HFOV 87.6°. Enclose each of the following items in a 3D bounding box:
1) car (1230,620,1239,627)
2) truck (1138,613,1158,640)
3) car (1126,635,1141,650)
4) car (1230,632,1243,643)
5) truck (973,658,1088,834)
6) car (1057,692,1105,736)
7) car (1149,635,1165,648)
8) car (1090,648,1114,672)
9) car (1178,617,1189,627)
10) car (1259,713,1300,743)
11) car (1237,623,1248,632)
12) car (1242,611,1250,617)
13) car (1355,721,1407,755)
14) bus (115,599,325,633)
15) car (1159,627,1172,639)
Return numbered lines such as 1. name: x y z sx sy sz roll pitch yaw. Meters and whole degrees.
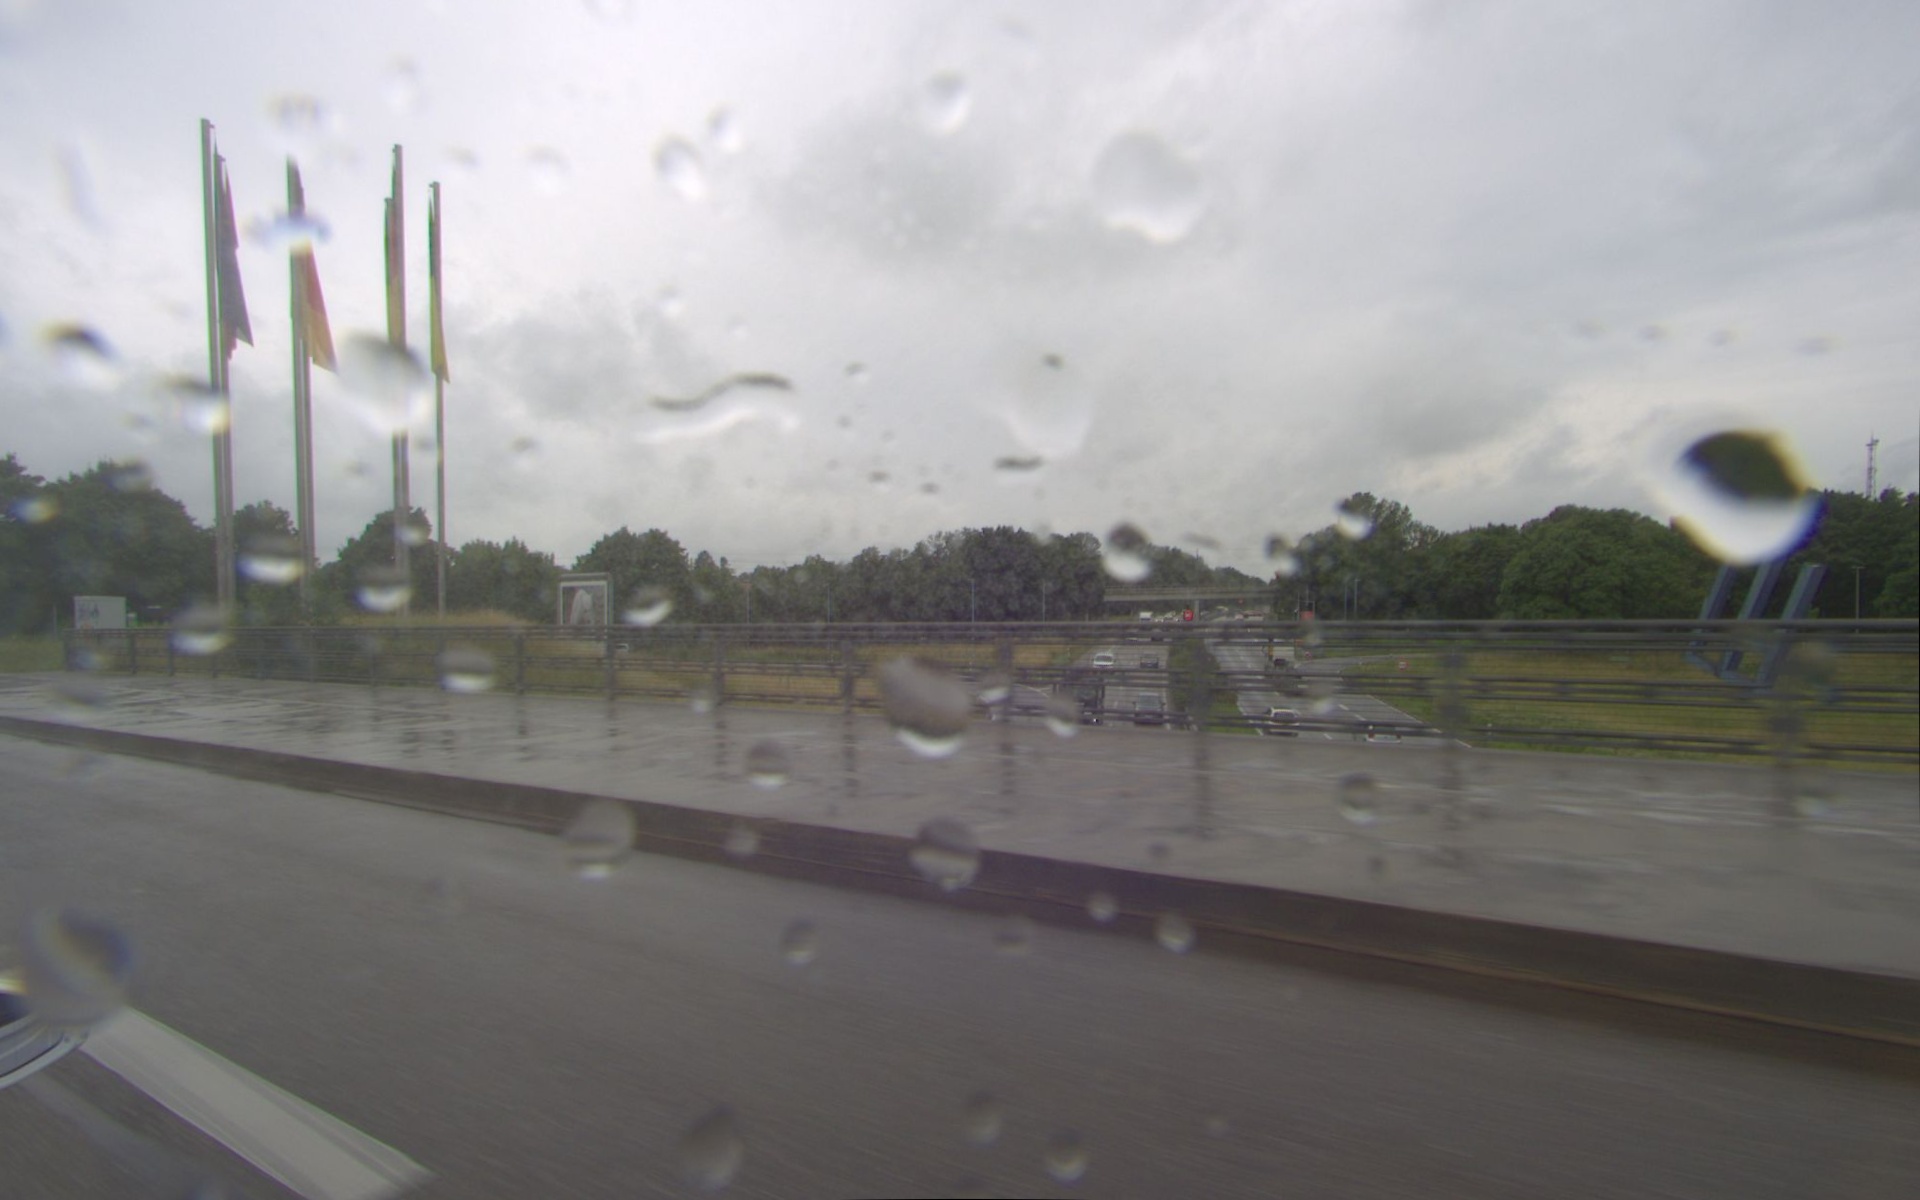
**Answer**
1. car: 58.598 5.036 213.854 1.963 1.613 3.996 0 -1 15
2. truck: 33.105 4.603 176.287 2.584 4.595 10.502 -1 0 15
3. car: 23.686 5.785 136.634 1.962 1.720 4.741 -1 0 11
4. car: 43.993 5.967 159.441 1.963 1.613 3.996 0 -1 15
5. truck: 2.615 4.332 33.079 2.520 4.357 10.939 0 -1 11
6. car: 7.136 6.554 58.362 2.255 1.990 5.616 0 -1 12
7. car: 28.575 6.045 144.964 1.963 1.720 4.739 -1 0 15
8. car: 13.020 5.437 91.734 1.962 1.977 3.998 0 -1 12
9. car: 46.726 4.555 209.520 1.963 1.962 4.739 -1 0 15
10. car: 17.676 7.089 55.496 1.550 1.252 3.321 -1 0 8
11. car: 53.285 5.108 188.706 1.963 1.613 3.996 0 -1 15
12. car: 72.372 3.596 253.141 1.963 1.613 3.996 0 -1 15
13. car: 21.133 6.931 50.376 1.550 1.252 3.321 -1 0 8
14. bus: -63.994 1.301 87.274 2.730 2.715 14.481 0 0 39
15. car: 35.280 5.640 171.648 1.963 1.962 4.739 -1 0 15
